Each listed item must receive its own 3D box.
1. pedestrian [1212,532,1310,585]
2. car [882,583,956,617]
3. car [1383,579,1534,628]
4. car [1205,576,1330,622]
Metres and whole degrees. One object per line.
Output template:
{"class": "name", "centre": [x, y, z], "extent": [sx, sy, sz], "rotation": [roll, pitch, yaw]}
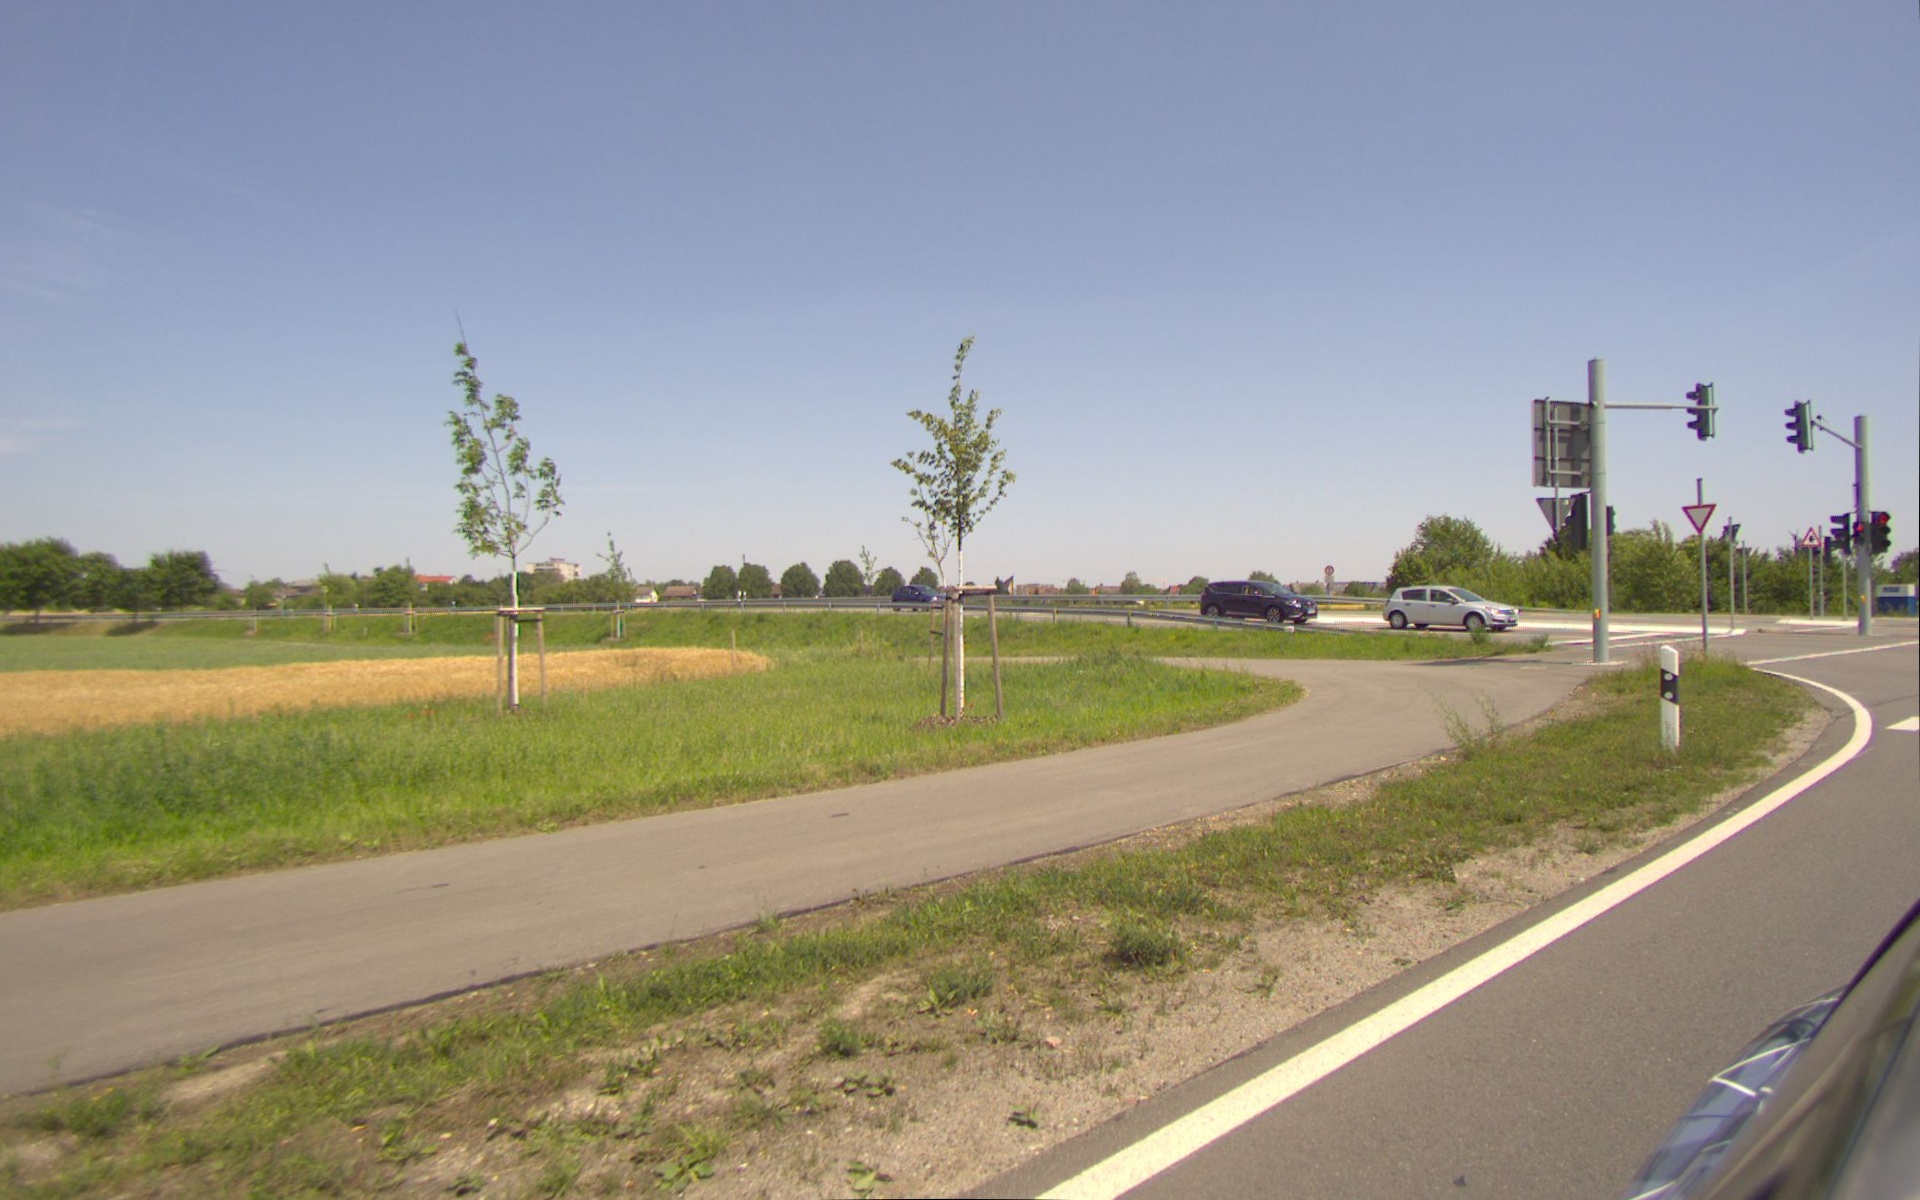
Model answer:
{"class": "pedestrian", "centre": [12.173, -1.633, 40.852], "extent": [3.930, 2.038, 1.997], "rotation": [-1, 2, -41]}
{"class": "car", "centre": [-2.329, 0.000, 56.750], "extent": [3.904, 1.831, 1.891], "rotation": [-1, 0, 42]}
{"class": "car", "centre": [16.198, 0.093, 33.081], "extent": [1.629, 1.478, 4.151], "rotation": [-1, 1, -35]}
{"class": "car", "centre": [11.855, -0.074, 39.304], "extent": [1.780, 1.661, 4.527], "rotation": [-1, 2, -35]}
